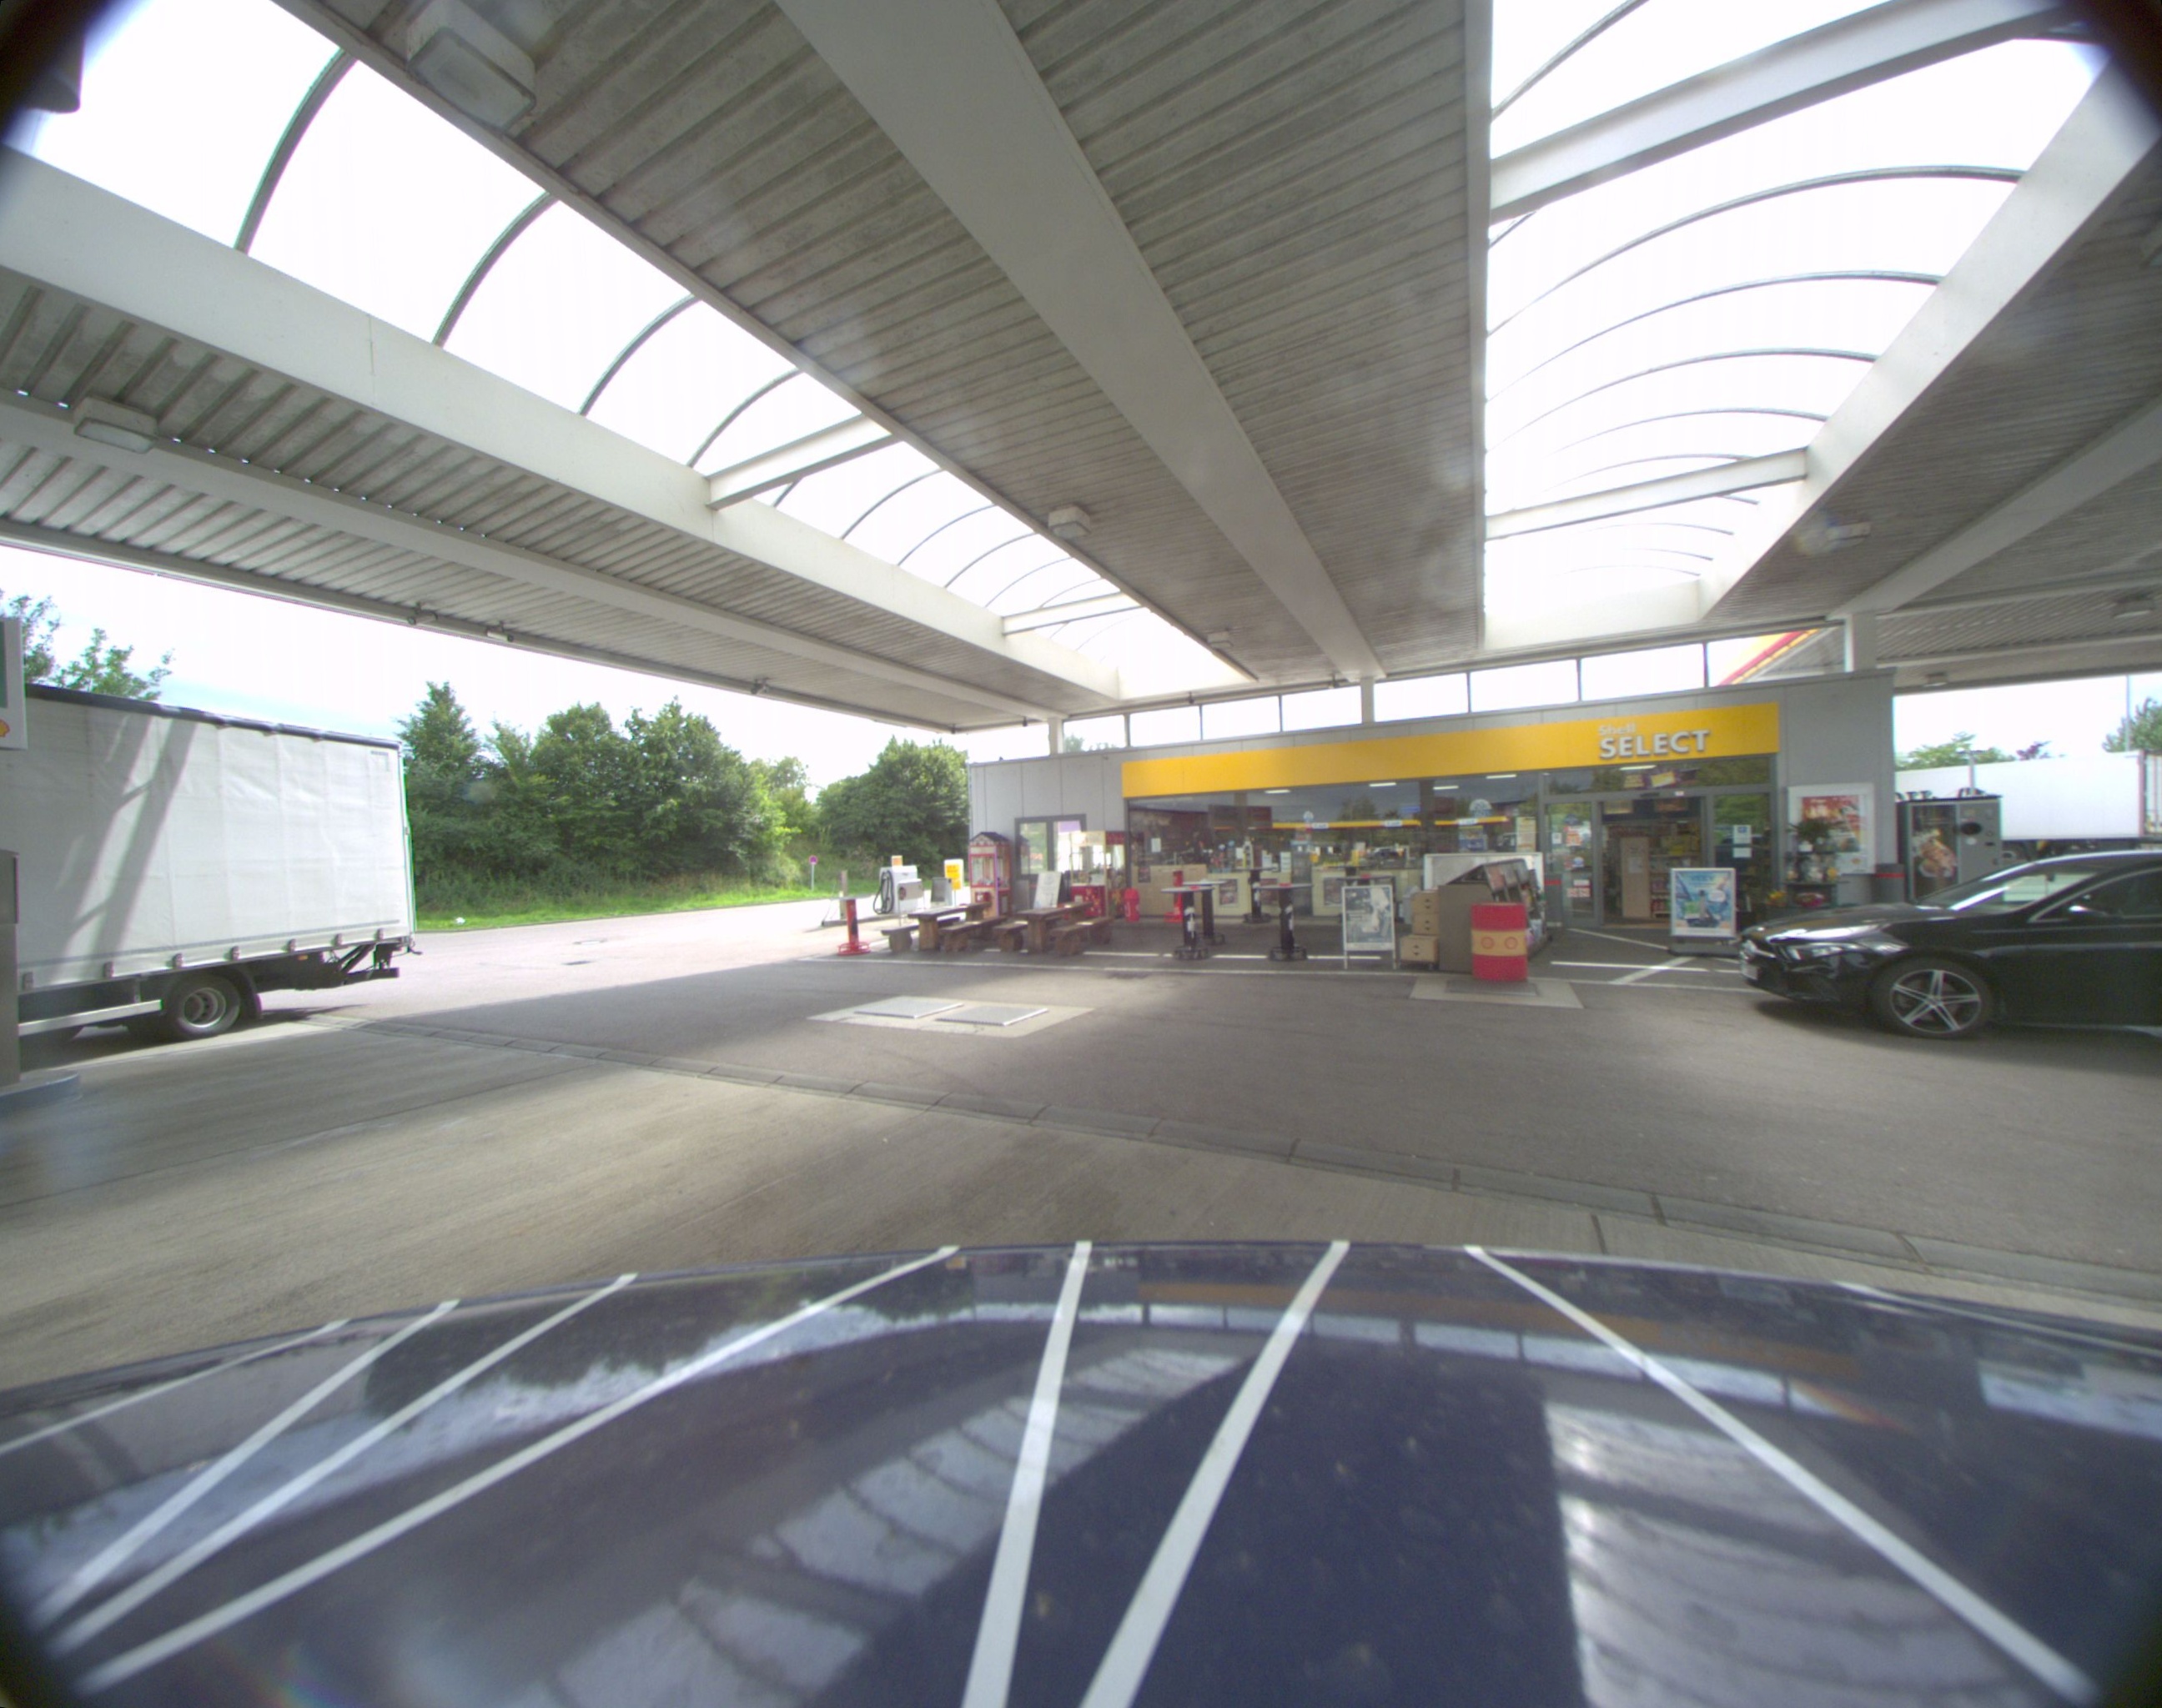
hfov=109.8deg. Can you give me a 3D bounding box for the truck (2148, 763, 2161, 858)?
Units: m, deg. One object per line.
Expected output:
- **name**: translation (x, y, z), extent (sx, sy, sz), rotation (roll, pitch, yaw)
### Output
- **truck**: translation (51.475, -2.040, 33.126), extent (3.383, 4.479, 6.239), rotation (-2, 1, 29)

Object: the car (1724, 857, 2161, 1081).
- **car**: translation (8.159, 0.812, 5.963), extent (4.461, 1.491, 1.782), rotation (-2, 1, 28)

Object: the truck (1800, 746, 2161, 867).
- **truck**: translation (35.126, -1.614, 30.046), extent (2.796, 3.982, 9.578), rotation (-3, 1, -16)
